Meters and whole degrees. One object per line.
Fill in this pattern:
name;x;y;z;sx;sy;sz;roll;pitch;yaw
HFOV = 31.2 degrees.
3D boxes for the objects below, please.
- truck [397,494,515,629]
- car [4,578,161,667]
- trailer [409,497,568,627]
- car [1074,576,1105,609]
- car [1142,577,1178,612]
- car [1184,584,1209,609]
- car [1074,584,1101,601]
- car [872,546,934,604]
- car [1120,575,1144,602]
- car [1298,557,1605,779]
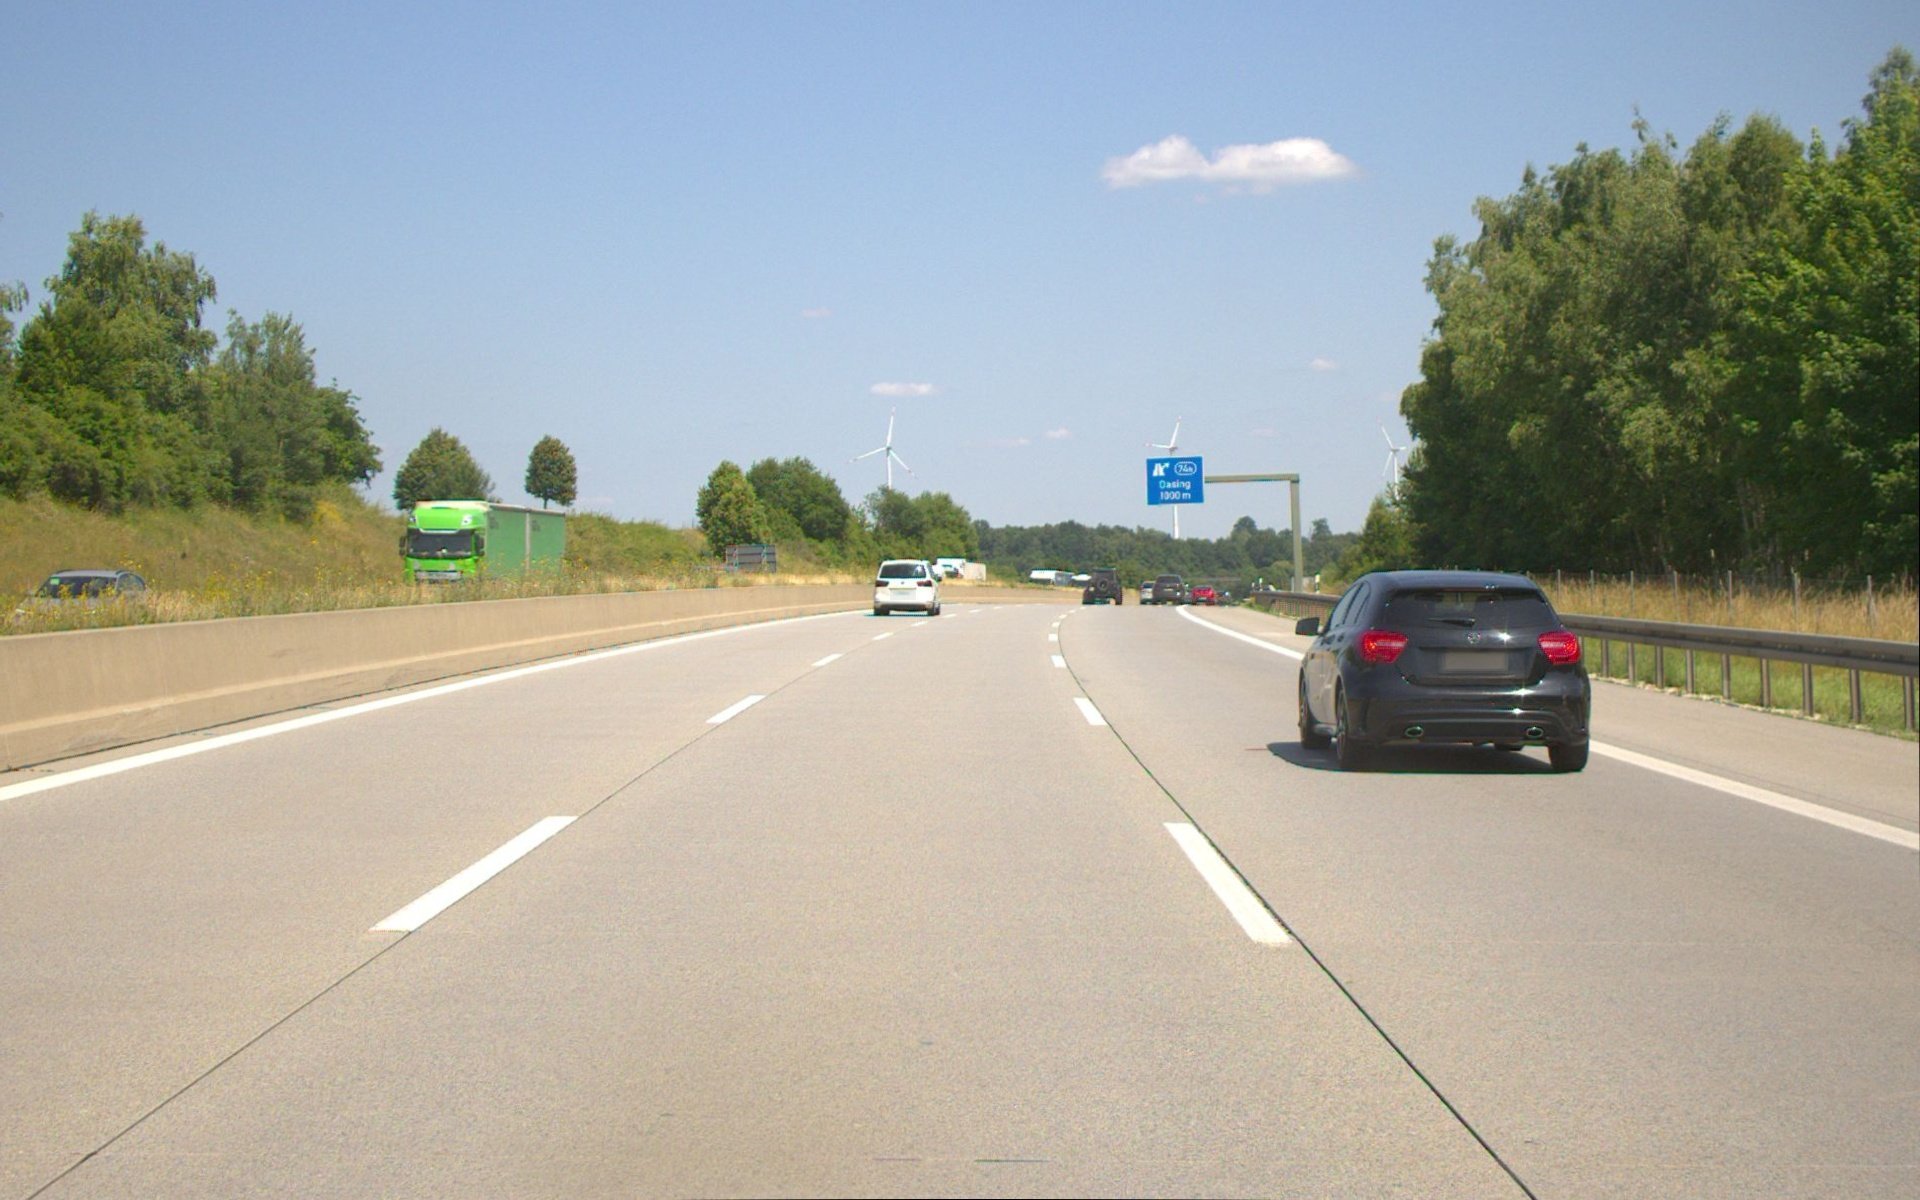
truck;-17.844;-1.360;122.077;3.090;4.646;6.265;0;0;2
car;-16.561;0.394;65.076;1.726;1.579;4.644;0;1;1
trailer;-17.604;-1.427;129.675;3.157;4.592;16.436;0;1;2
car;7.637;-0.450;202.812;1.827;1.931;3.809;0;1;3
car;11.069;-0.315;190.026;1.827;1.900;4.000;0;1;1
car;17.736;-0.243;257.981;1.788;1.804;3.746;0;1;2
car;9.484;-0.553;255.710;1.655;1.192;3.960;3;1;-3
car;-1.722;-0.771;105.865;1.845;1.702;6.036;0;0;-1
car;13.108;-0.881;261.875;1.744;1.983;4.000;0;1;1
car;3.597;0.442;25.827;1.910;1.487;4.191;1;1;3
